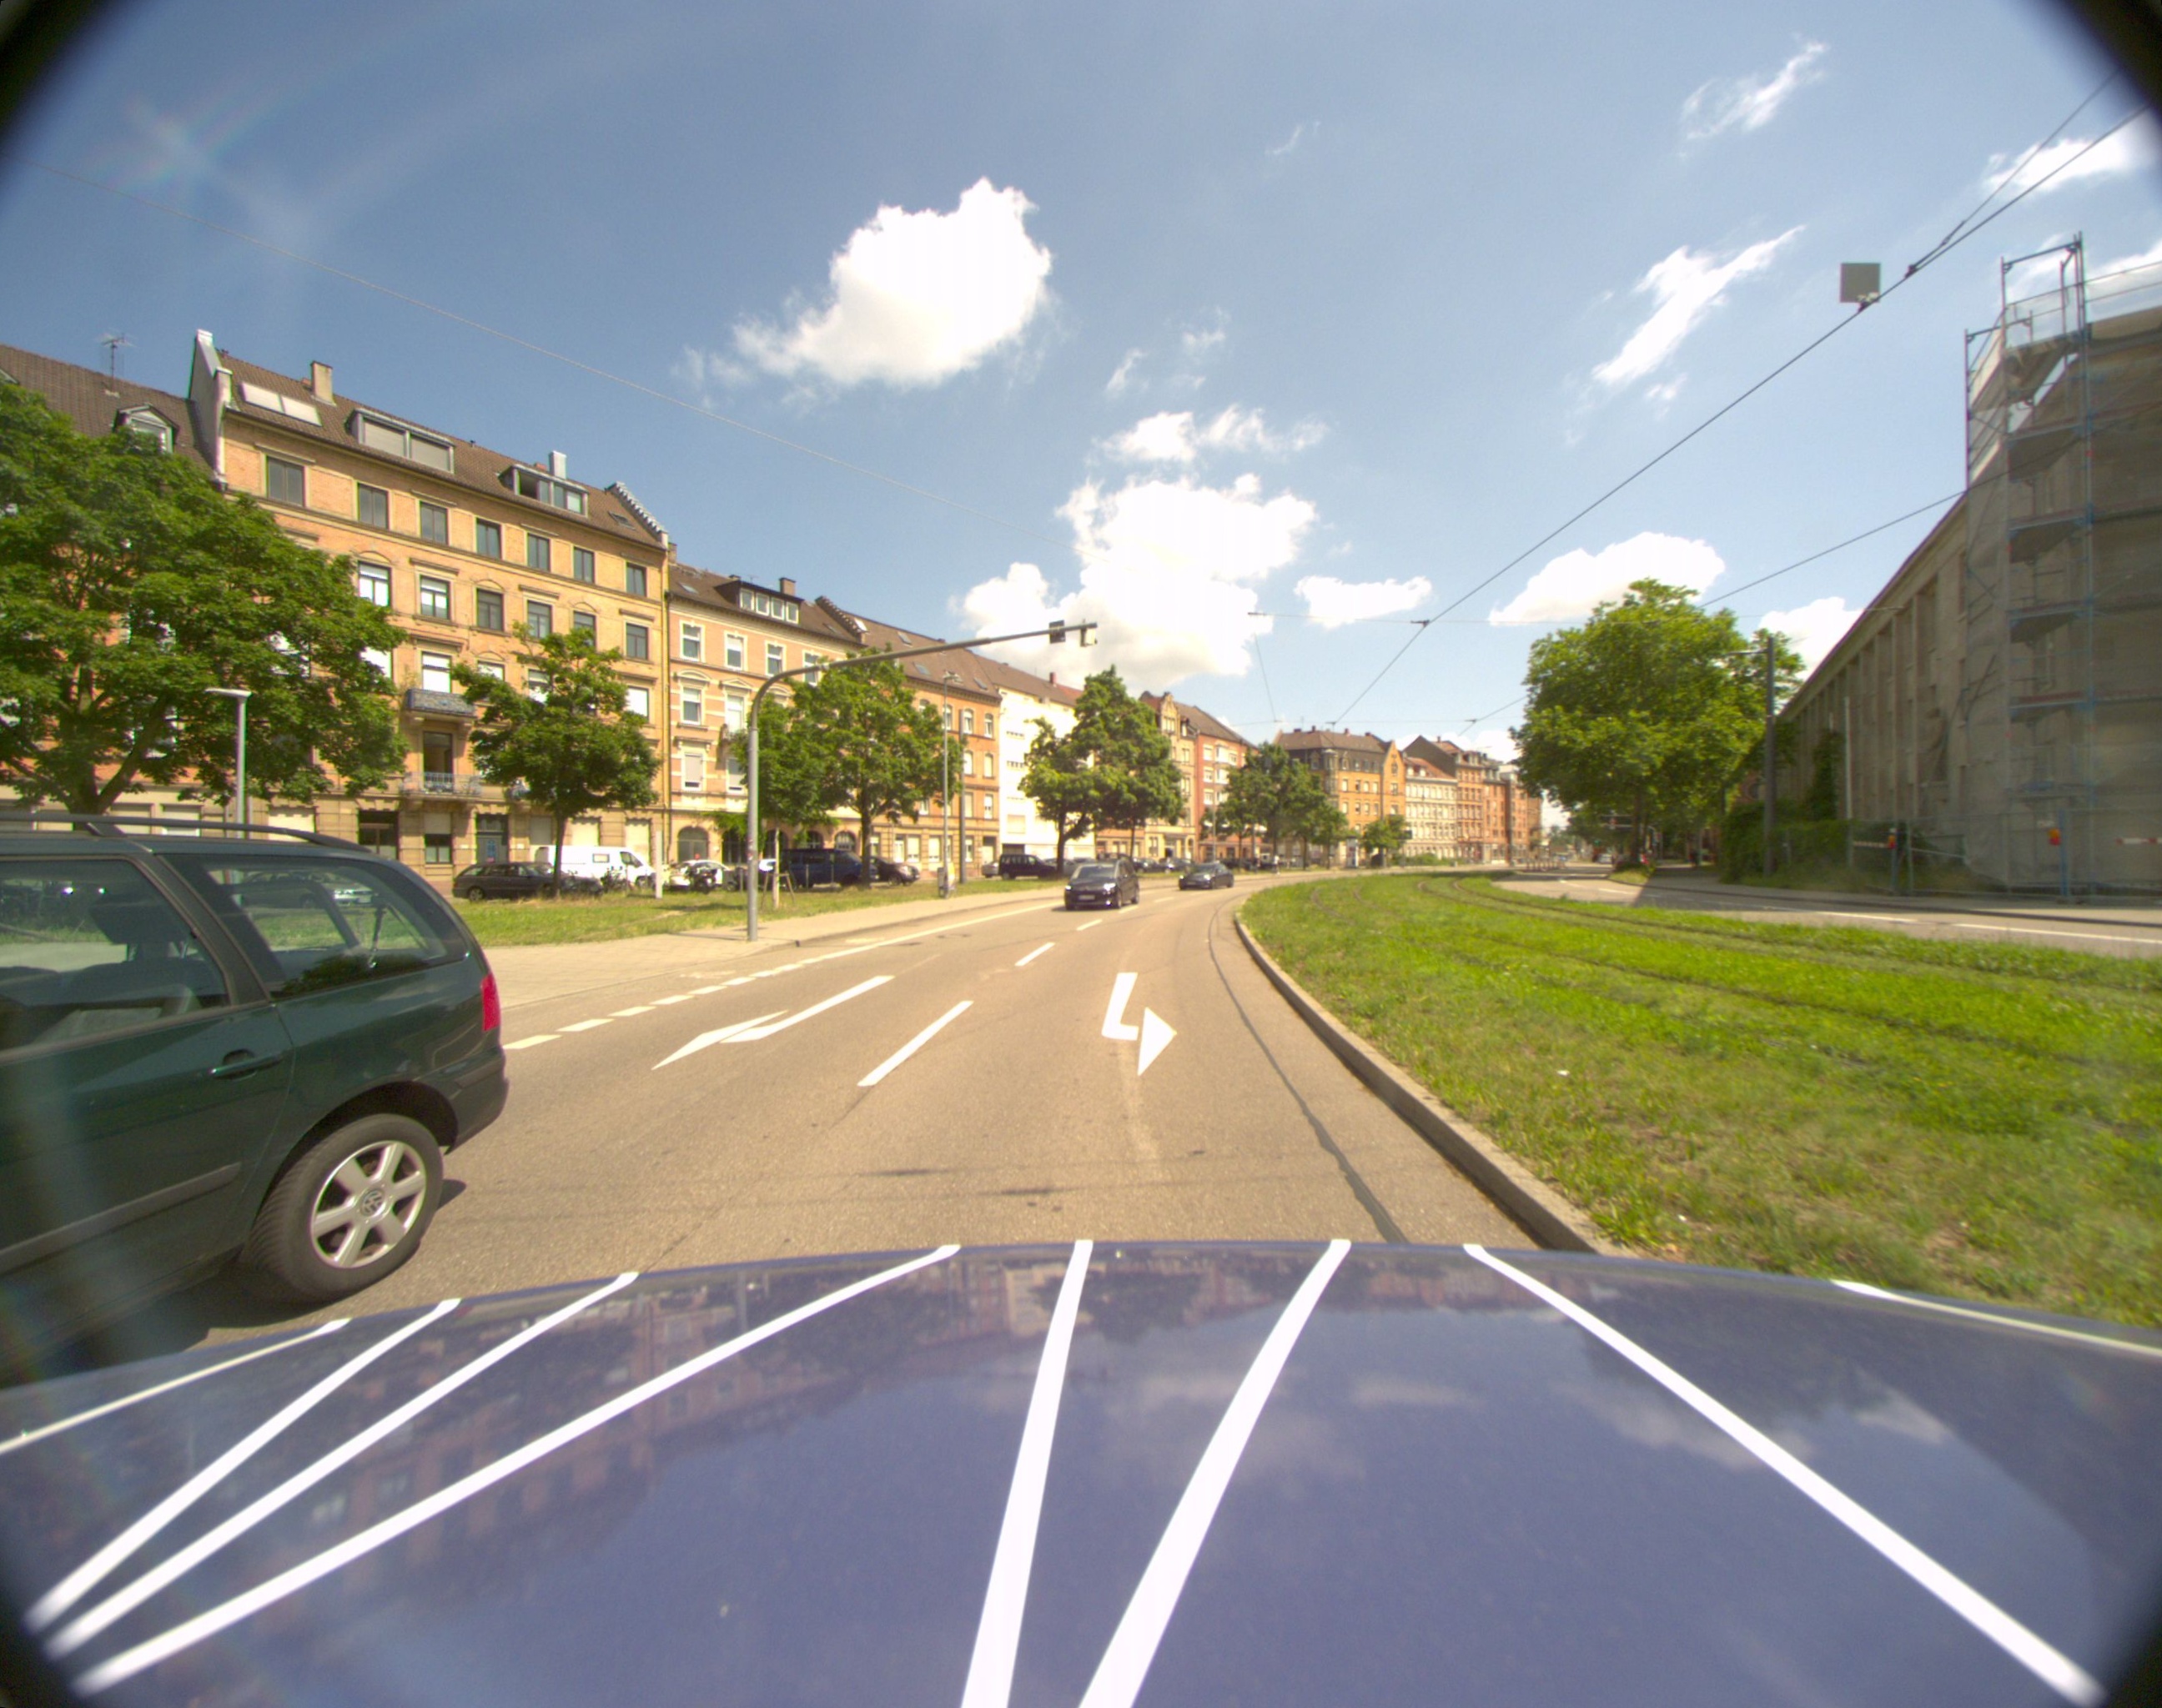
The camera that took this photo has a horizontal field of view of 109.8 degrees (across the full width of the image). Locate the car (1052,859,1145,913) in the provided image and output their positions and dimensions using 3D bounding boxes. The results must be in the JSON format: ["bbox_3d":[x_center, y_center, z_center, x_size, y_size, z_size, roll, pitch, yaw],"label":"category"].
[{"bbox_3d":[0.696,1.017,25.689,1.873,1.610,4.195,-2,0,19],"label":"car"}]

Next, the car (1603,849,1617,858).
[{"bbox_3d":[83.515,-0.074,119.928,1.760,1.471,3.796,2,1,36],"label":"car"}]

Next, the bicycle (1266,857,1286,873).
[{"bbox_3d":[15.700,0.872,61.181,0.693,1.235,1.843,6,4,42],"label":"bicycle"}]

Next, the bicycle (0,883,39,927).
[{"bbox_3d":[-25.545,1.204,17.735,2.387,0.963,0.544,-2,0,13],"label":"bicycle"}]

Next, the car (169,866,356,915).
[{"bbox_3d":[-23.941,1.052,22.273,4.157,1.237,1.865,-2,0,13],"label":"car"}]

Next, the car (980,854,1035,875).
[{"bbox_3d":[-5.726,0.780,59.383,1.833,1.483,4.235,-2,0,38],"label":"car"}]

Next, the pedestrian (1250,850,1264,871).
[{"bbox_3d":[14.363,0.505,61.961,0.700,1.695,1.046,1,3,36],"label":"pedestrian"}]

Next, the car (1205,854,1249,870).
[{"bbox_3d":[13.728,0.714,71.807,3.994,1.372,1.963,-2,0,9],"label":"car"}]

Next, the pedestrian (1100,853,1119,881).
[{"bbox_3d":[1.670,0.786,44.836,0.700,1.583,0.907,3,4,36],"label":"pedestrian"}]

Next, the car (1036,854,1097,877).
[{"bbox_3d":[-0.957,0.787,51.980,4.081,1.397,1.853,-2,0,2],"label":"car"}]

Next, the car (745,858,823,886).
[{"bbox_3d":[-17.161,1.019,44.082,1.660,1.483,3.861,-2,0,38],"label":"car"}]

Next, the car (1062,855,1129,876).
[{"bbox_3d":[1.103,0.808,54.558,4.689,1.372,1.853,-2,0,3],"label":"car"}]

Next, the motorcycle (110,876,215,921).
[{"bbox_3d":[-24.767,1.199,20.485,2.387,1.119,0.813,-2,0,14],"label":"motorcycle"}]

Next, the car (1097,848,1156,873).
[{"bbox_3d":[3.428,0.479,57.504,4.362,1.730,1.852,-2,0,1],"label":"car"}]

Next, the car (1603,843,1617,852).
[{"bbox_3d":[102.392,-1.306,147.052,1.921,1.736,4.546,2,2,36],"label":"car"}]

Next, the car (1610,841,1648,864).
[{"bbox_3d":[36.709,-0.093,50.918,1.927,1.360,4.327,-3,-2,35],"label":"car"}]

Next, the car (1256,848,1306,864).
[{"bbox_3d":[30.158,0.270,114.713,6.961,2.360,2.267,-1,0,31],"label":"car"}]

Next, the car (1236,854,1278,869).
[{"bbox_3d":[17.798,0.759,76.794,3.992,1.346,1.964,-2,0,15],"label":"car"}]

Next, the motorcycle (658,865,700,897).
[{"bbox_3d":[-14.962,0.986,28.248,1.784,1.160,0.641,-1,0,36],"label":"motorcycle"}]

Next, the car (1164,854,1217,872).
[{"bbox_3d":[9.467,0.792,65.860,4.266,1.372,1.852,-2,0,1],"label":"car"}]

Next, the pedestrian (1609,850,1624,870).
[{"bbox_3d":[46.212,0.515,65.560,0.782,1.694,0.703,-2,0,10],"label":"pedestrian"}]

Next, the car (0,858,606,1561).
[{"bbox_3d":[-3.648,0.922,1.665,1.823,1.746,5.032,-2,0,3],"label":"car"}]

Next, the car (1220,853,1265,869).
[{"bbox_3d":[15.695,0.698,74.059,3.995,1.372,1.962,-2,0,4],"label":"car"}]

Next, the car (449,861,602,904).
[{"bbox_3d":[-19.479,0.977,26.720,4.253,1.419,1.807,-1,0,8],"label":"car"}]

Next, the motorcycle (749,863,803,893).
[{"bbox_3d":[-12.284,0.947,30.663,1.910,1.160,0.638,-1,0,-41],"label":"motorcycle"}]

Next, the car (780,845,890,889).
[{"bbox_3d":[-11.875,0.642,36.768,4.624,1.916,1.918,-2,0,7],"label":"car"}]

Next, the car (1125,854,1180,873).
[{"bbox_3d":[5.669,0.764,60.704,4.266,1.372,1.852,-2,0,1],"label":"car"}]

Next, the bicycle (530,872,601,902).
[{"bbox_3d":[-16.747,1.058,24.727,0.542,0.896,1.825,-2,0,33],"label":"bicycle"}]

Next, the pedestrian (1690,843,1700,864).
[{"bbox_3d":[47.096,-0.066,58.300,0.554,1.582,0.797,-2,0,37],"label":"pedestrian"}]

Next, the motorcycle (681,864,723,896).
[{"bbox_3d":[-14.463,0.988,28.978,1.784,1.160,0.641,-1,0,36],"label":"motorcycle"}]

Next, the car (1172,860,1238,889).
[{"bbox_3d":[6.772,1.081,41.127,1.911,1.385,4.321,-2,0,33],"label":"car"}]

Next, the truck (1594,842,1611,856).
[{"bbox_3d":[114.311,-1.151,166.411,2.639,3.088,7.237,1,2,37],"label":"truck"}]

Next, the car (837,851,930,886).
[{"bbox_3d":[-10.169,0.743,39.237,4.168,1.646,1.918,-2,0,11],"label":"car"}]

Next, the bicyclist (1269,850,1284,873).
[{"bbox_3d":[15.750,0.583,61.194,0.694,1.814,0.958,6,4,41],"label":"bicyclist"}]

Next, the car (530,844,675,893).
[{"bbox_3d":[-22.721,0.641,36.288,2.112,2.165,5.405,-2,0,38],"label":"car"}]

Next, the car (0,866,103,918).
[{"bbox_3d":[-32.700,1.172,22.936,1.660,1.483,3.861,-2,0,38],"label":"car"}]

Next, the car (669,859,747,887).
[{"bbox_3d":[-19.802,0.988,40.467,1.564,1.395,3.357,-1,0,40],"label":"car"}]

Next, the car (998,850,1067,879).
[{"bbox_3d":[-3.133,0.696,49.709,4.144,1.730,1.853,-2,0,7],"label":"car"}]
